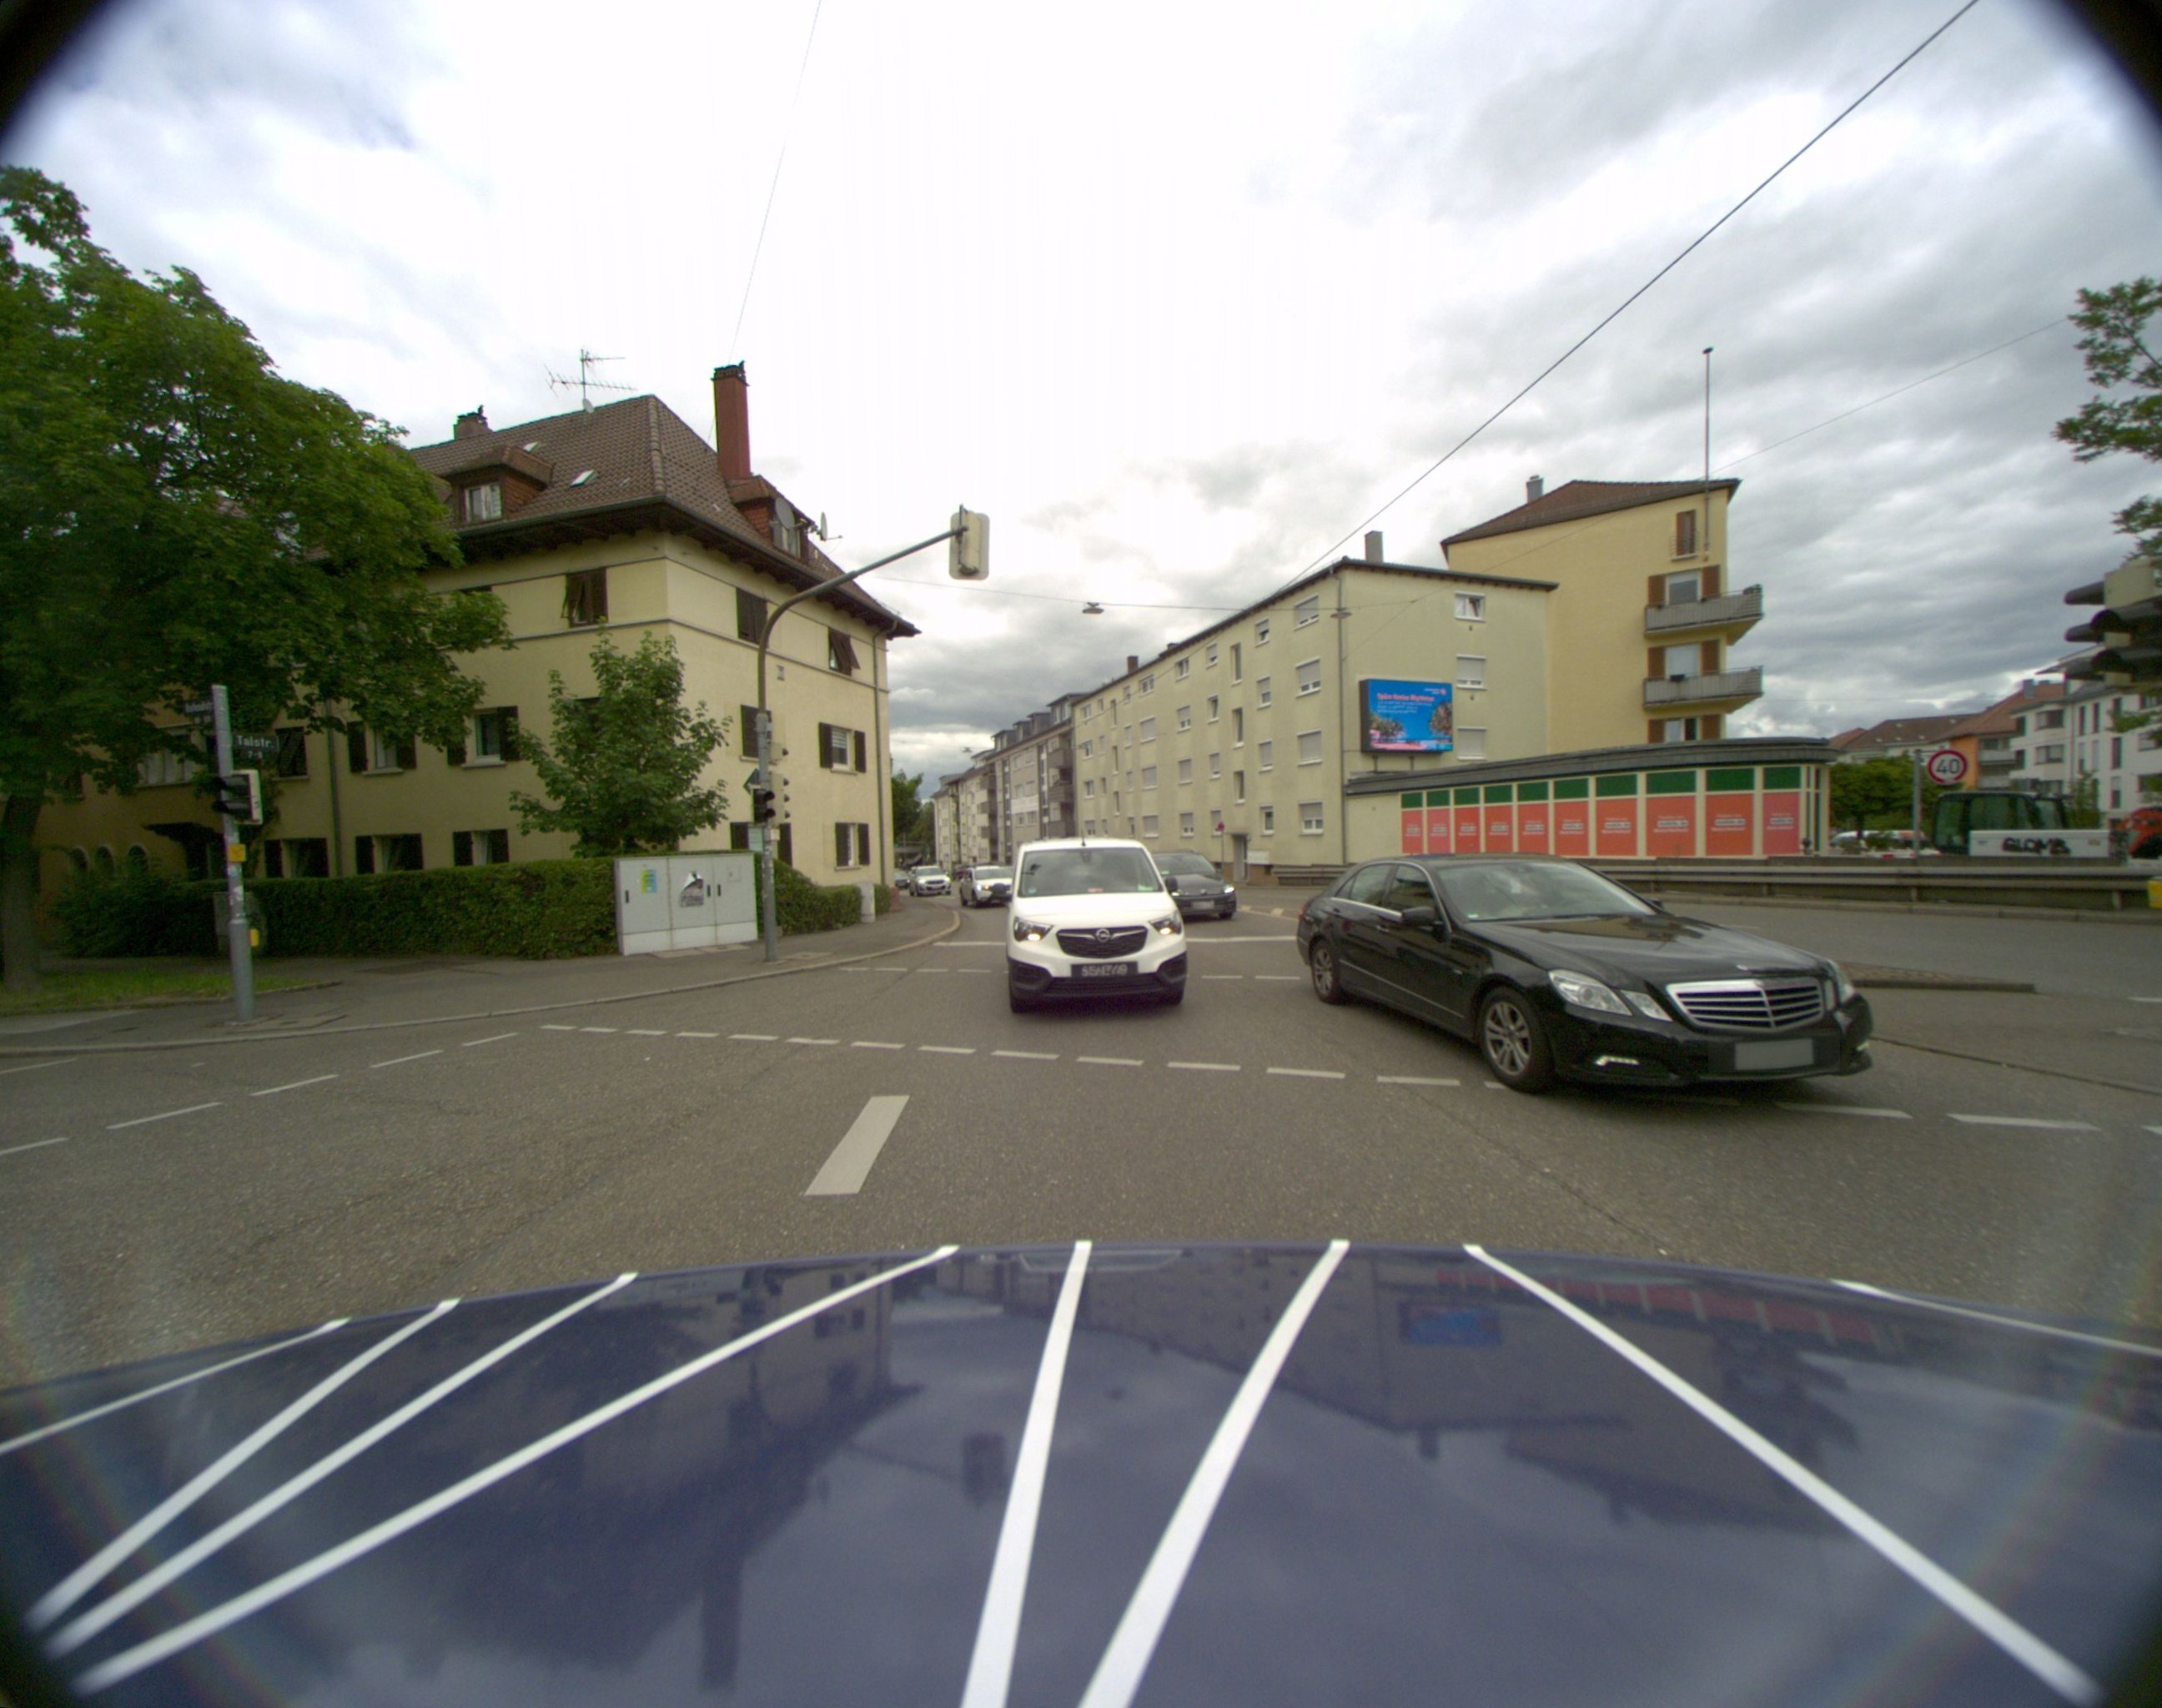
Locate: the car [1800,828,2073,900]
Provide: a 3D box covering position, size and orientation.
[{"bbox_3d":[20.440,0.251,18.464,3.989,1.543,2.004,-3,0,33],"label":"car"}]

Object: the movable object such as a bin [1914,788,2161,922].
[{"bbox_3d":[16.369,0.016,12.364,1.381,2.002,3.529,-2,0,-29],"label":"movable object such as a bin"}]

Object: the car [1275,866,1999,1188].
[{"bbox_3d":[3.367,0.863,6.115,1.999,1.420,4.840,-2,0,-5],"label":"car"}]

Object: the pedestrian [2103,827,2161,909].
[{"bbox_3d":[18.280,0.226,13.042,0.600,1.355,0.626,-3,0,14],"label":"pedestrian"}]

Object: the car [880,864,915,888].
[{"bbox_3d":[-13.169,1.522,54.354,1.902,1.572,3.993,-3,1,-21],"label":"car"}]

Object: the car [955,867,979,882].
[{"bbox_3d":[-12.545,2.221,83.327,1.778,1.591,3.534,-1,0,-23],"label":"car"}]

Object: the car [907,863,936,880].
[{"bbox_3d":[-14.604,1.578,69.353,1.885,1.347,4.139,-4,1,-21],"label":"car"}]

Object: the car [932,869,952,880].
[{"bbox_3d":[-18.132,2.627,99.273,1.778,1.394,3.752,-1,0,-23],"label":"car"}]

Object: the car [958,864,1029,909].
[{"bbox_3d":[-3.426,1.180,28.977,1.902,1.501,4.161,-3,0,-17],"label":"car"}]

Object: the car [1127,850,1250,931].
[{"bbox_3d":[2.420,0.761,18.372,1.863,1.601,4.477,-4,1,-6],"label":"car"}]

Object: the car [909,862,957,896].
[{"bbox_3d":[-8.283,1.367,42.360,1.902,1.635,3.993,-5,1,-20],"label":"car"}]

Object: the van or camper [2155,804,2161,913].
[{"bbox_3d":[22.341,0.128,13.183,2.681,2.325,6.017,-2,0,38],"label":"van or camper"}]

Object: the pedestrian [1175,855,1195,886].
[{"bbox_3d":[5.587,0.874,40.845,0.691,1.627,0.778,-3,1,-19],"label":"pedestrian"}]

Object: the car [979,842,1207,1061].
[{"bbox_3d":[-0.015,0.813,8.890,1.863,1.772,4.709,-4,1,-3],"label":"car"}]
